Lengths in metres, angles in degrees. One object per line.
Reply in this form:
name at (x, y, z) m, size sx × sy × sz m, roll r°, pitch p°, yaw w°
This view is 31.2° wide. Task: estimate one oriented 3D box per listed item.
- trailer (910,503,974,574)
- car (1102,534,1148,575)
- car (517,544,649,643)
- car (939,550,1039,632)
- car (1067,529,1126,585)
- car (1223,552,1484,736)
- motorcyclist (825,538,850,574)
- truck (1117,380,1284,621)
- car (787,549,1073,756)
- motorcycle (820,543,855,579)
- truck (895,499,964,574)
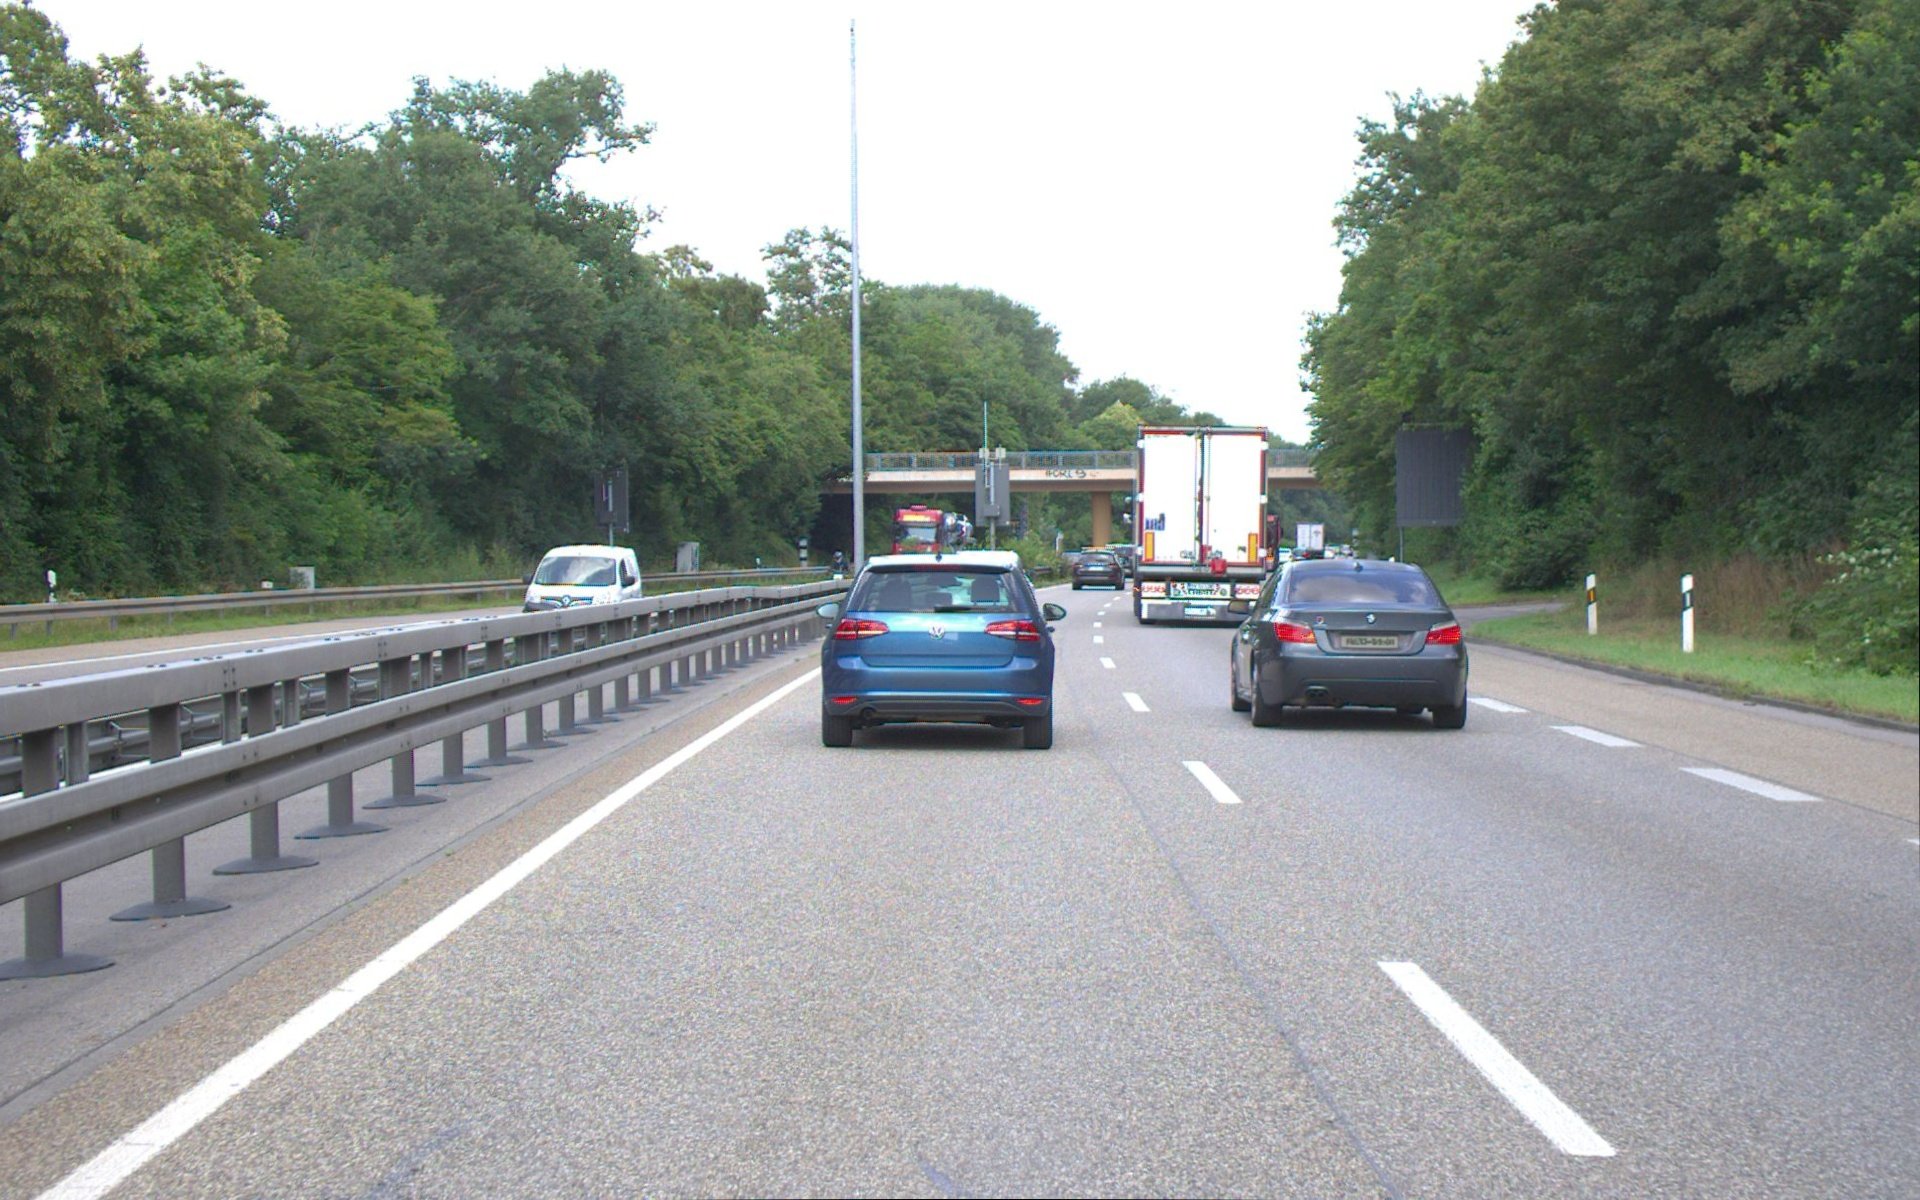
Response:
trailer at (-0.962, -3.448, 193.705) m, size 2.938 × 3.820 × 10.309 m, roll -1°, pitch 1°, yaw 3°
car at (7.215, -1.997, 150.103) m, size 1.767 × 1.766 × 4.023 m, roll 0°, pitch 1°, yaw 6°
car at (-7.152, -0.161, 65.638) m, size 1.844 × 1.812 × 5.478 m, roll 0°, pitch 1°, yaw 1°
car at (0.572, -0.196, 65.442) m, size 1.665 × 1.495 × 4.151 m, roll 1°, pitch 1°, yaw 4°
car at (5.028, -1.566, 126.133) m, size 1.954 × 2.007 × 3.999 m, roll 0°, pitch 1°, yaw 5°
car at (3.435, 0.330, 30.840) m, size 1.774 × 1.470 × 4.880 m, roll 1°, pitch 1°, yaw 0°
motorcyclist at (-4.150, -1.492, 116.443) m, size 0.825 × 1.222 × 0.720 m, roll 0°, pitch 1°, yaw 1°
truck at (5.065, -2.041, 72.807) m, size 3.242 × 4.700 × 11.005 m, roll 0°, pitch 1°, yaw 4°
car at (-0.157, 0.352, 26.943) m, size 1.705 × 1.465 × 3.999 m, roll 1°, pitch 1°, yaw 7°
motorcycle at (-4.166, -1.320, 116.759) m, size 1.000 × 1.197 × 2.997 m, roll 0°, pitch 1°, yaw 1°
truck at (-1.600, -3.378, 183.376) m, size 2.955 × 3.842 × 10.323 m, roll -1°, pitch 1°, yaw 3°
